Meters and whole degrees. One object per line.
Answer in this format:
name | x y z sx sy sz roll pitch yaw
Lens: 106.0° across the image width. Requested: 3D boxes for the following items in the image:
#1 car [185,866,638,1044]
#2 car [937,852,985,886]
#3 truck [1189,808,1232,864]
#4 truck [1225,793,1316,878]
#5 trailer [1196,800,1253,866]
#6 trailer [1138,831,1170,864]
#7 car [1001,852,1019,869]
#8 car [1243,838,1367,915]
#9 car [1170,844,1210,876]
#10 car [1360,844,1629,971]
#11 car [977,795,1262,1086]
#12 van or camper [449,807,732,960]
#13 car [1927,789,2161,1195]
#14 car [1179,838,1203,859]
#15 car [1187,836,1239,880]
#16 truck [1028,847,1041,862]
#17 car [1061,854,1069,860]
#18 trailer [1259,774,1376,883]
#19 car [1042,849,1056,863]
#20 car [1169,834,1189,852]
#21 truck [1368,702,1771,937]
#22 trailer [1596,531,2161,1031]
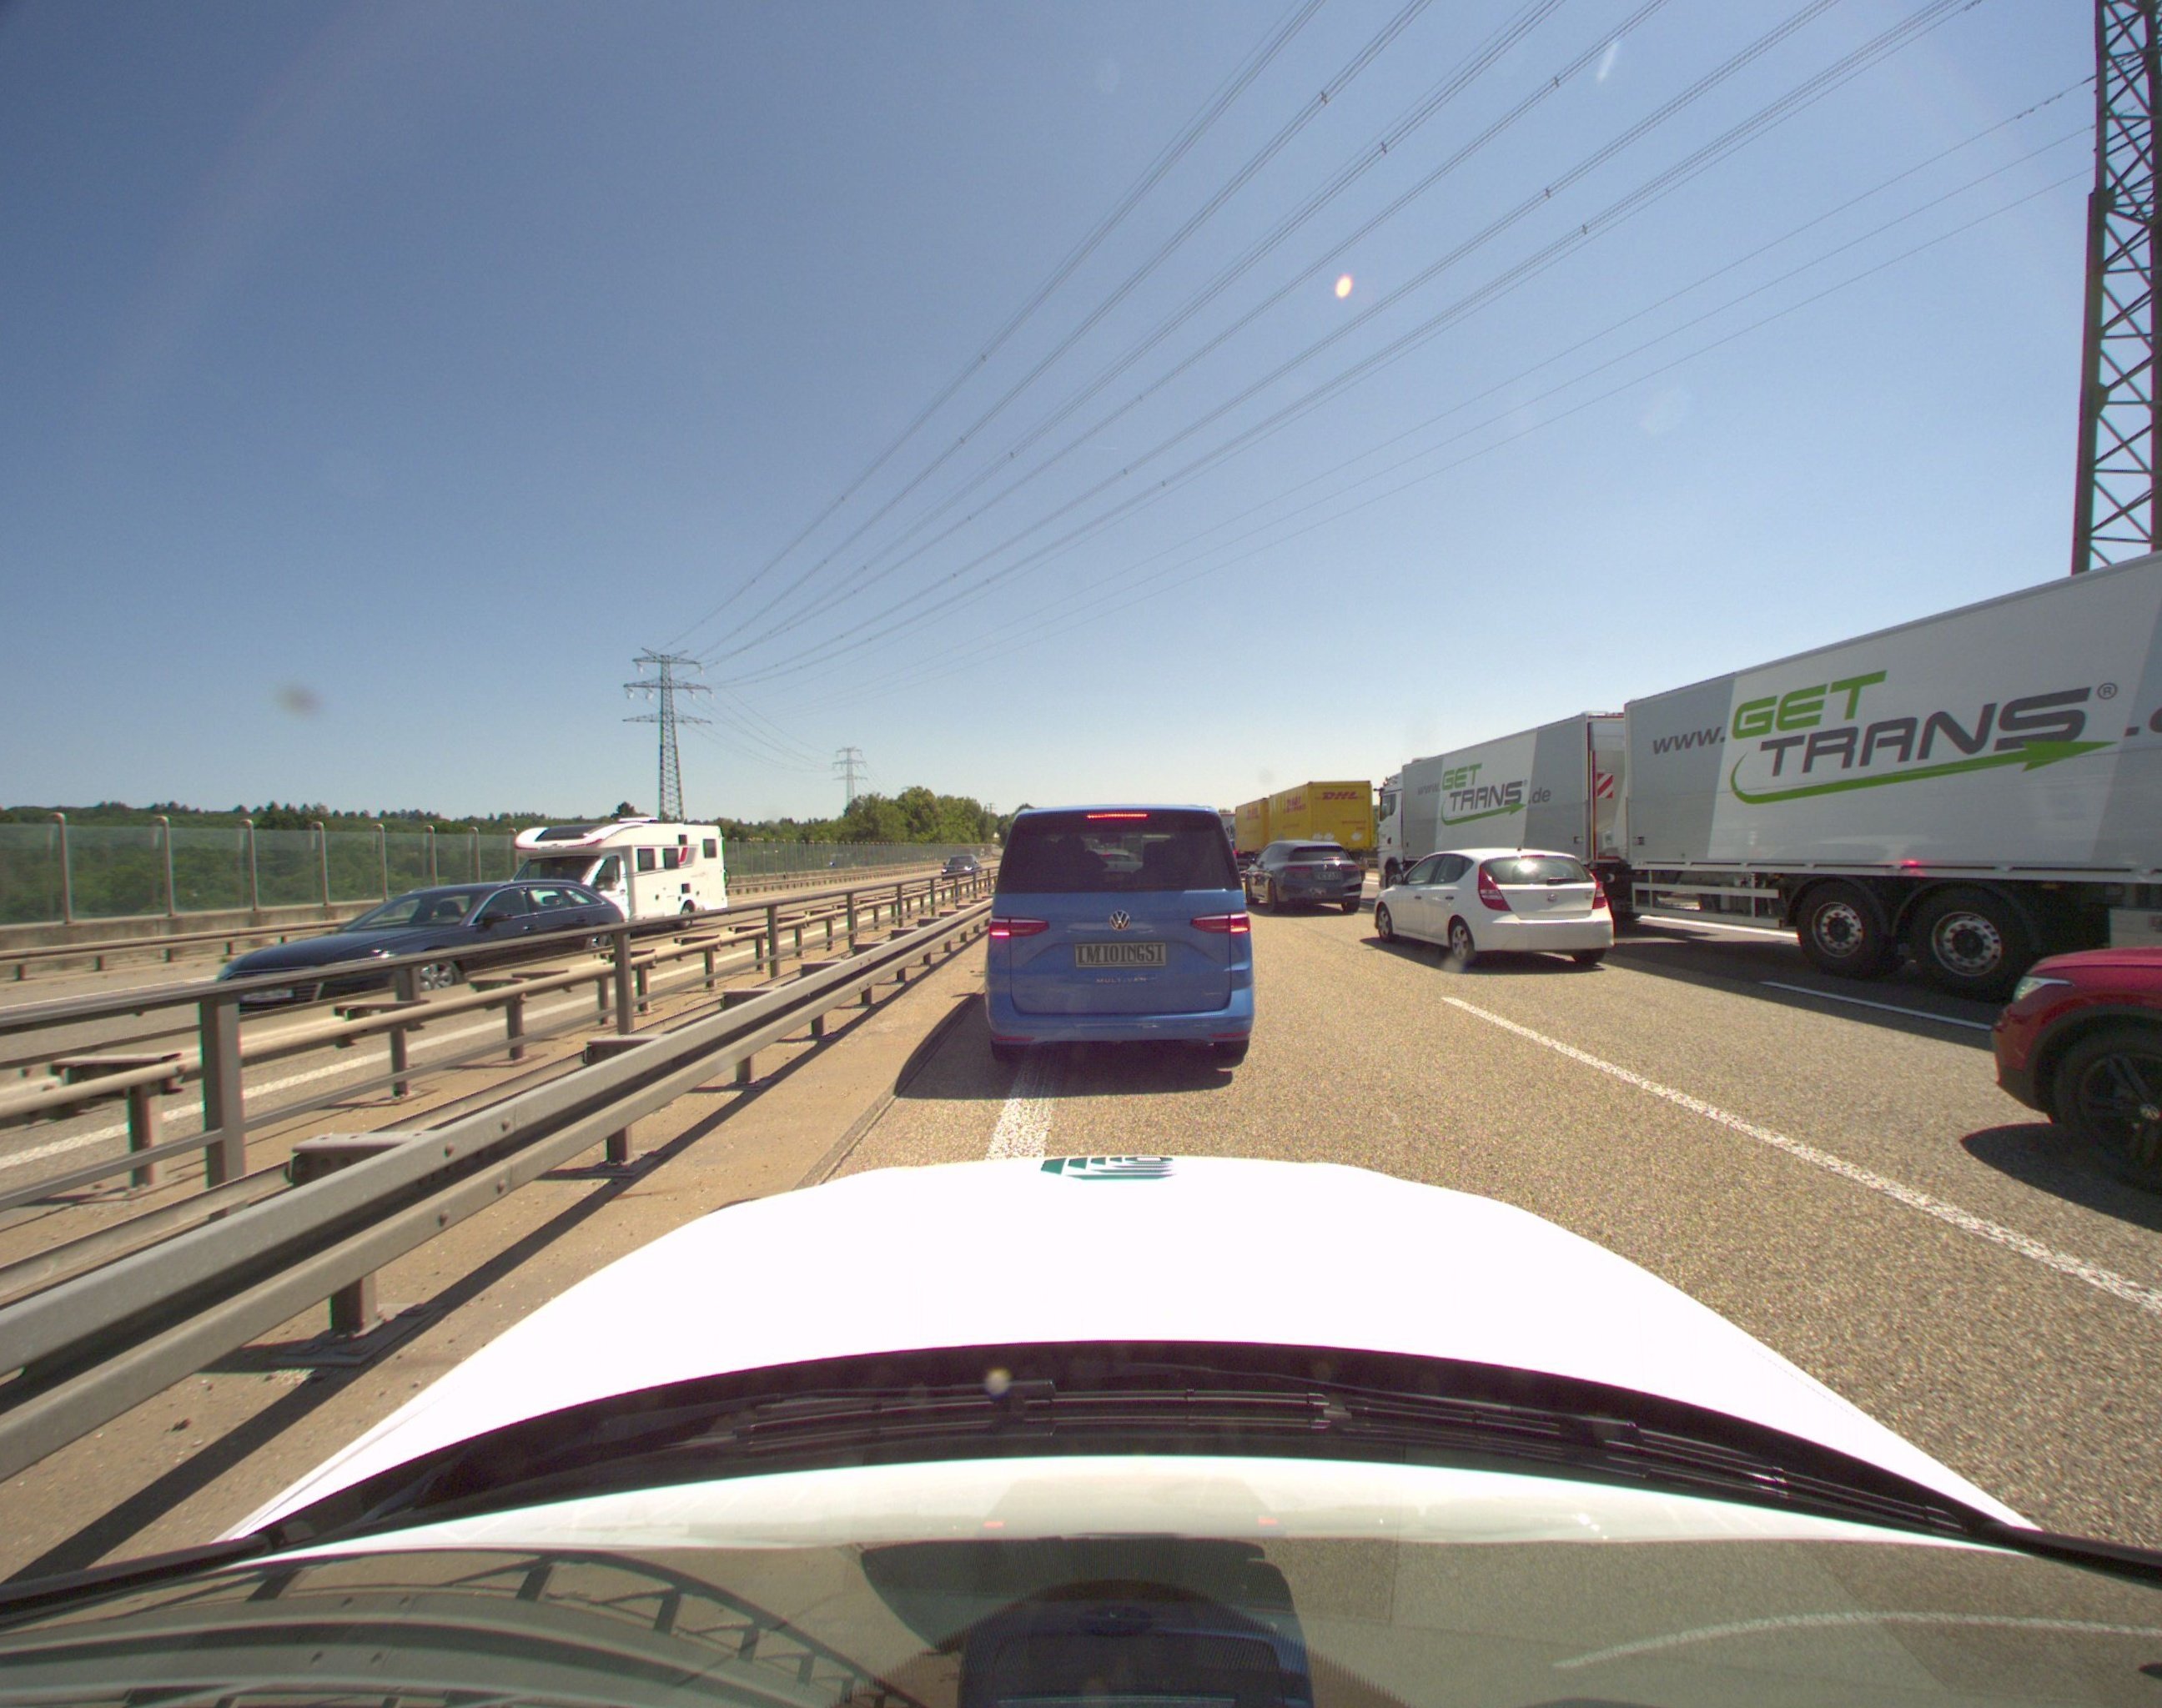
car | -7.869 1.037 10.314 1.860 1.531 4.426 -5 0 2
car | -6.884 0.837 47.101 1.860 1.699 4.432 -5 0 1
truck | 10.844 -1.423 68.857 2.657 4.484 6.852 -1 0 2
truck | 10.485 -0.935 46.342 2.826 4.243 11.013 -1 0 1
trailer | 10.619 -1.443 61.566 2.627 4.516 11.305 0 0 2
trailer | 7.022 -0.578 79.313 2.559 2.990 10.668 0 0 2
car | -10.045 0.922 115.655 1.986 2.215 4.269 -4 0 1
car | 5.331 0.478 20.003 1.955 1.644 4.295 -1 0 2
car | 6.525 0.335 49.022 1.986 1.816 4.002 -1 0 2
car | 5.598 0.626 11.732 1.782 1.455 4.295 -1 0 2
car | 0.316 0.562 7.270 1.813 1.857 4.076 0 0 2
van or camper | -11.604 0.598 20.279 2.413 3.023 7.030 -3 0 2
car | 5.267 0.549 2.129 1.768 1.662 4.225 -1 0 1
car | 11.087 -0.543 82.046 1.986 2.014 4.002 0 0 2
car | 6.439 0.187 40.183 1.955 1.993 4.295 -1 0 2
truck | -11.173 0.041 195.319 2.488 3.365 5.836 -4 0 2
car | -4.010 0.737 200.868 1.613 1.464 3.703 -3 0 2
trailer | 10.221 -0.967 36.303 2.854 4.239 9.015 0 0 2
car | -5.050 0.296 128.939 1.856 2.131 4.270 -4 0 2
car | 11.519 -1.294 96.087 1.986 2.013 4.463 -2 0 2
truck | 9.641 -0.562 18.353 2.647 3.648 11.013 -1 0 1
trailer | 9.420 -0.575 8.826 2.688 3.700 8.017 -1 0 1
